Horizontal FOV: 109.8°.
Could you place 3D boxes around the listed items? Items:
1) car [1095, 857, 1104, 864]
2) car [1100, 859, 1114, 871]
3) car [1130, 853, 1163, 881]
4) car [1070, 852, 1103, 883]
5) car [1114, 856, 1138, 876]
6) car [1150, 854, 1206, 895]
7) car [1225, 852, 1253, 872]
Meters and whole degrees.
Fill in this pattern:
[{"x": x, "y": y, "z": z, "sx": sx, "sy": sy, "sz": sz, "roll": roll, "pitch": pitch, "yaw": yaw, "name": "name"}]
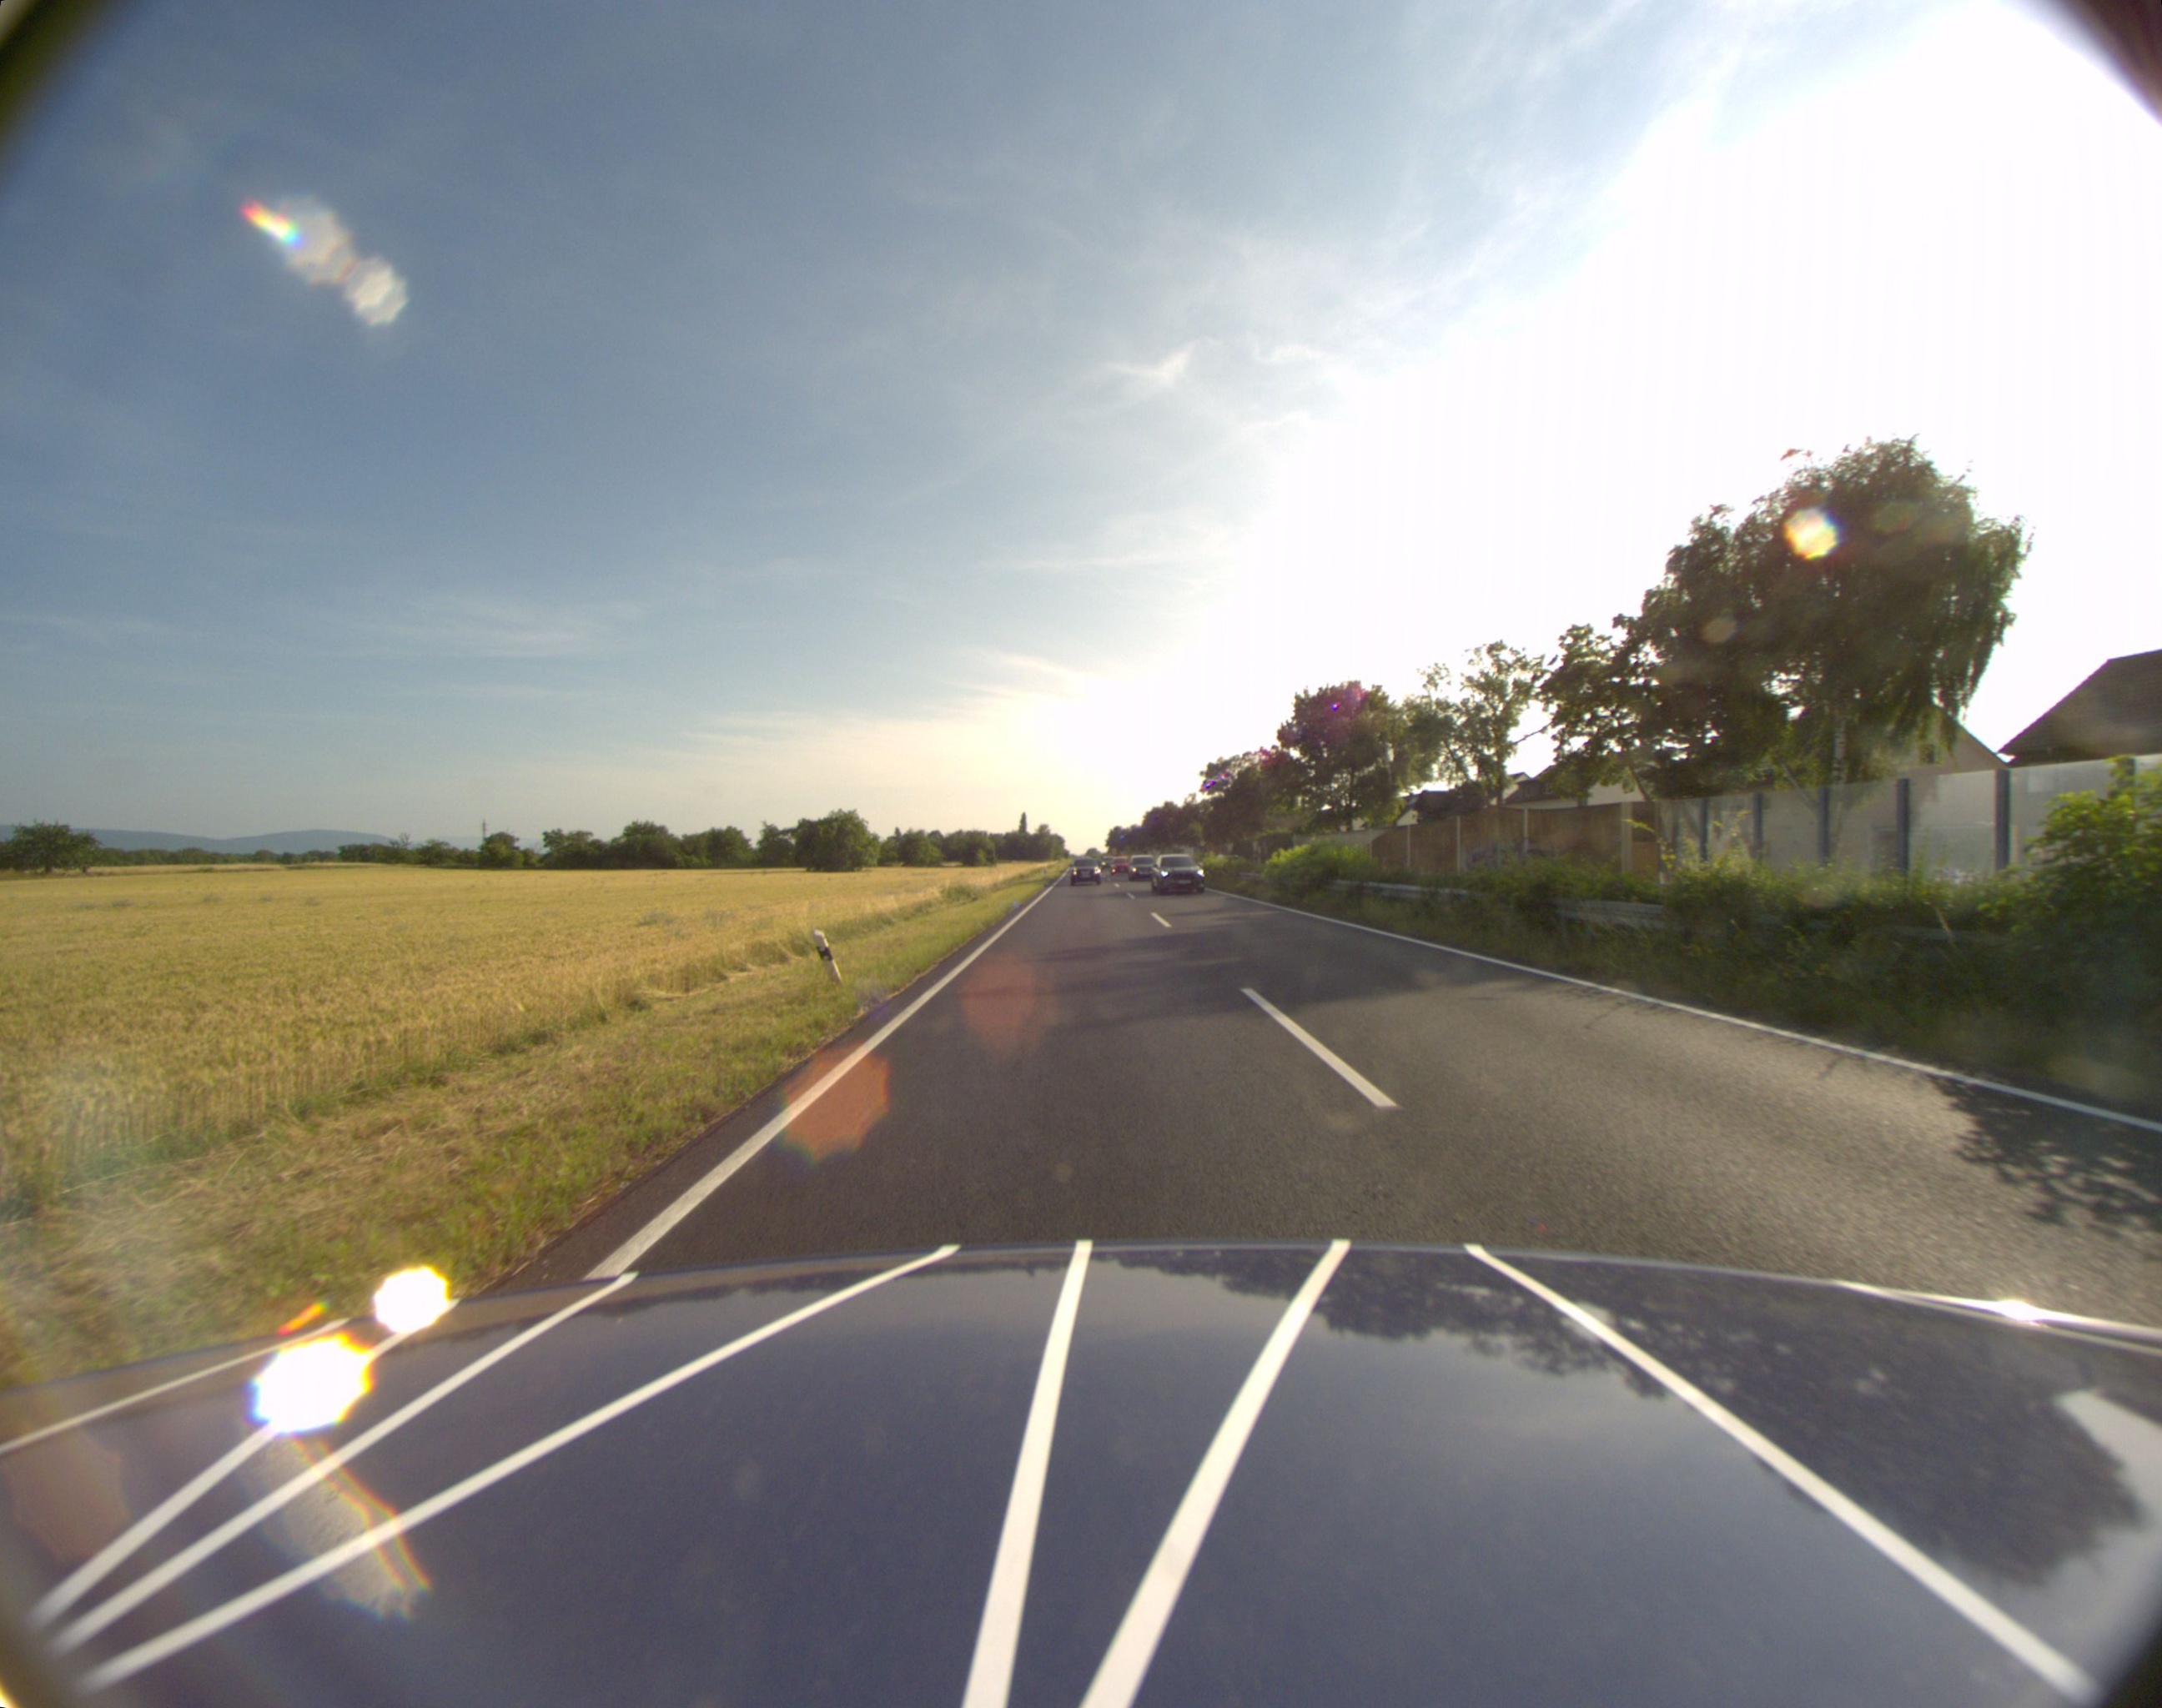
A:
[{"x": 3.945, "y": 1.402, "z": 164.096, "sx": 1.693, "sy": 1.397, "sz": 3.999, "roll": -2, "pitch": 1, "yaw": 0, "name": "car"}, {"x": 3.470, "y": 1.420, "z": 100.695, "sx": 1.700, "sy": 1.456, "sz": 3.646, "roll": -2, "pitch": 1, "yaw": 0, "name": "car"}, {"x": 4.288, "y": 0.818, "z": 50.204, "sx": 1.822, "sy": 1.724, "sz": 4.000, "roll": -2, "pitch": 1, "yaw": 1, "name": "car"}, {"x": 0.310, "y": 0.790, "z": 45.303, "sx": 1.822, "sy": 1.661, "sz": 3.999, "roll": -2, "pitch": 1, "yaw": 0, "name": "car"}, {"x": 4.029, "y": 1.057, "z": 68.554, "sx": 1.822, "sy": 1.661, "sz": 3.999, "roll": -2, "pitch": 1, "yaw": 0, "name": "car"}, {"x": 4.015, "y": 0.798, "z": 31.987, "sx": 1.822, "sy": 1.516, "sz": 4.246, "roll": -2, "pitch": 1, "yaw": 1, "name": "car"}, {"x": 12.155, "y": 0.606, "z": 58.599, "sx": 1.420, "sy": 1.454, "sz": 3.146, "roll": -2, "pitch": 1, "yaw": 0, "name": "car"}]
